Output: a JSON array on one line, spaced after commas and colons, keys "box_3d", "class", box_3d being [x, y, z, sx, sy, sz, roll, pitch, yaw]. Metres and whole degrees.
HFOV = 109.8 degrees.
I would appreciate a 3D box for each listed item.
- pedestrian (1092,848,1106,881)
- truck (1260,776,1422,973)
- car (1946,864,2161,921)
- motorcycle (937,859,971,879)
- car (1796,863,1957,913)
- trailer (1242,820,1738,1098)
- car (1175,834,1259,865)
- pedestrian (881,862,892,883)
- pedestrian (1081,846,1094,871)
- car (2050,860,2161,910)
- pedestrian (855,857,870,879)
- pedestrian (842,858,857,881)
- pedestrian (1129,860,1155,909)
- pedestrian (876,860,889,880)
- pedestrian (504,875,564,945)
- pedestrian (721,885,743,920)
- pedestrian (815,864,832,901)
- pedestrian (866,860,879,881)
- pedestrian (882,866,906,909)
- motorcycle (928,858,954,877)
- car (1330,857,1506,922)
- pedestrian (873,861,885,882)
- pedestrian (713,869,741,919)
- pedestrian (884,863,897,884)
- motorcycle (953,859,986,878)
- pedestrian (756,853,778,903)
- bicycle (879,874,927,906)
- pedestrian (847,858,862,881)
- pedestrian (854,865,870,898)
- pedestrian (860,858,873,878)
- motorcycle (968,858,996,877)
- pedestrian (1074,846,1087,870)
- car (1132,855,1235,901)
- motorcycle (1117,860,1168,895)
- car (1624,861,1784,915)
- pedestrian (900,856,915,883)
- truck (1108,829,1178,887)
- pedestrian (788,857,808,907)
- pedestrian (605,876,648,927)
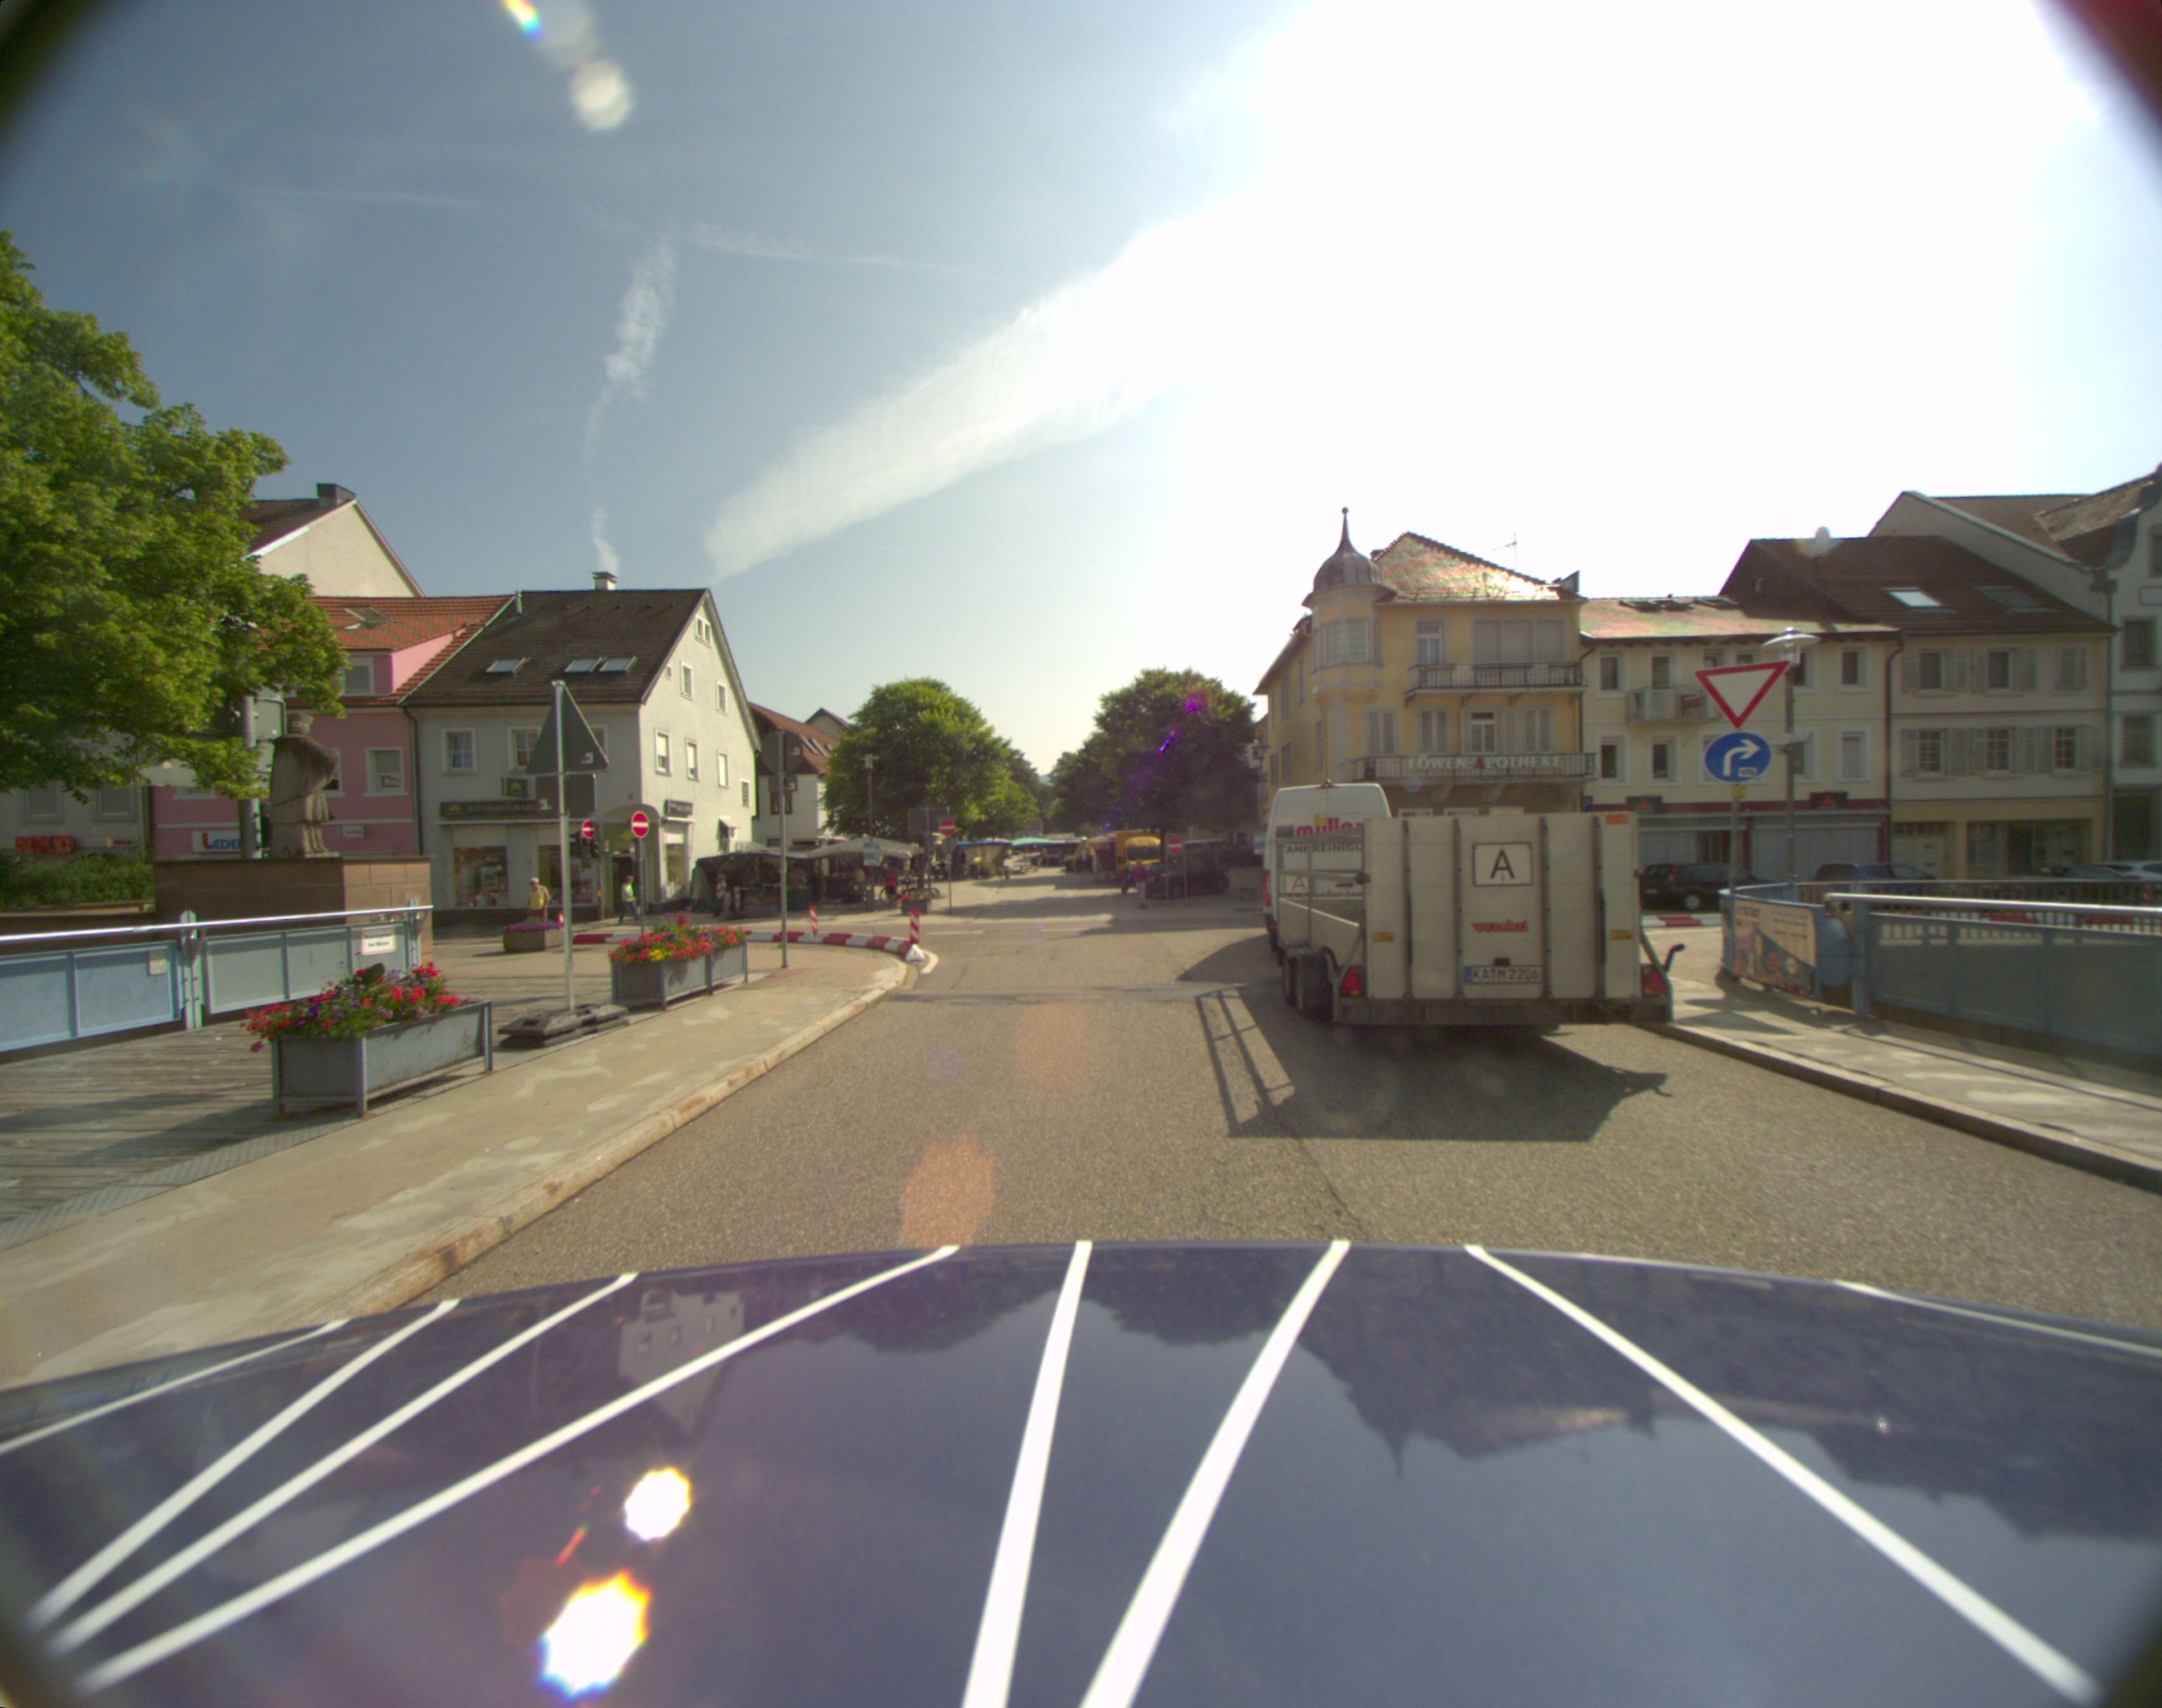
[{"box_3d": [1.020, 0.571, 42.498, 0.681, 1.777, 0.726, -3, 2, 0], "class": "pedestrian"}, {"box_3d": [4.536, 0.371, 14.073, 2.108, 2.682, 7.143, -1, -1, 15], "class": "truck"}, {"box_3d": [26.859, 1.020, 20.919, 4.197, 1.348, 1.756, -2, 0, -2], "class": "car"}, {"box_3d": [-8.065, 0.965, 48.145, 2.001, 1.189, 0.644, 1, 2, 14], "class": "motorcycle"}, {"box_3d": [25.052, 1.030, 24.008, 3.274, 1.439, 1.752, -1, 0, -1], "class": "car"}, {"box_3d": [3.299, 0.717, 7.913, 2.616, 1.817, 5.641, -1, 0, 6], "class": "trailer"}, {"box_3d": [8.849, -0.292, 49.791, 5.071, 1.880, 1.999, -1, 0, -4], "class": "car"}, {"box_3d": [-11.306, 1.082, 44.207, 0.572, 1.194, 0.650, 1, 2, -10], "class": "pedestrian"}, {"box_3d": [0.427, 0.300, 53.237, 0.682, 1.672, 0.582, -4, 3, -16], "class": "pedestrian"}, {"box_3d": [33.521, 0.954, 23.960, 3.792, 1.439, 1.752, -1, 0, -1], "class": "car"}, {"box_3d": [-13.337, 0.868, 46.406, 0.626, 1.323, 0.699, 1, 2, 4], "class": "pedestrian"}, {"box_3d": [-13.565, 0.907, 44.500, 0.626, 1.323, 0.699, 1, 2, 4], "class": "pedestrian"}, {"box_3d": [2.170, 1.081, 27.141, 0.678, 1.705, 0.618, -1, 2, 31], "class": "pedestrian"}, {"box_3d": [-12.366, 0.995, 47.315, 0.572, 1.194, 0.650, 1, 2, 1], "class": "pedestrian"}, {"box_3d": [-15.581, 1.561, 21.681, 0.908, 1.806, 1.019, -3, 6, -13], "class": "pedestrian"}, {"box_3d": [-12.239, 1.699, 26.639, 0.623, 1.153, 0.515, -2, 1, -31], "class": "pedestrian"}, {"box_3d": [-11.437, 1.265, 33.768, 0.522, 1.617, 0.707, -1, 1, -4], "class": "pedestrian"}, {"box_3d": [-12.298, 0.967, 44.834, 0.572, 1.194, 0.650, 1, 2, 1], "class": "pedestrian"}, {"box_3d": [-7.291, 1.311, 29.682, 0.883, 1.649, 0.571, 1, 2, -10], "class": "pedestrian"}, {"box_3d": [-9.041, 0.855, 49.213, 1.531, 1.189, 0.643, 1, 1, 0], "class": "motorcycle"}, {"box_3d": [9.032, 0.924, 20.589, 3.967, 1.552, 1.684, -2, 1, 1], "class": "car"}, {"box_3d": [-12.129, 1.044, 45.660, 0.572, 1.194, 0.650, 1, 2, 1], "class": "pedestrian"}, {"box_3d": [-12.648, 1.421, 27.137, 0.789, 1.714, 0.705, -2, 1, -33], "class": "pedestrian"}, {"box_3d": [-10.802, 1.109, 43.197, 0.700, 1.194, 0.571, 0, 2, -13], "class": "pedestrian"}, {"box_3d": [-7.146, 0.914, 48.667, 2.001, 1.189, 0.644, 1, 1, 14], "class": "motorcycle"}, {"box_3d": [-12.758, 0.962, 30.856, 0.708, 1.959, 0.507, -2, 1, -34], "class": "pedestrian"}, {"box_3d": [-7.257, 1.453, 30.986, 1.863, 1.228, 0.616, -2, 1, -13], "class": "bicycle"}, {"box_3d": [-13.551, 0.915, 45.427, 0.626, 1.323, 0.699, 1, 2, 4], "class": "pedestrian"}, {"box_3d": [-10.215, 1.287, 35.482, 0.622, 1.509, 0.632, -1, 1, -12], "class": "pedestrian"}, {"box_3d": [-13.373, 0.865, 47.347, 0.572, 1.194, 0.650, 1, 2, 1], "class": "pedestrian"}, {"box_3d": [-6.449, 0.885, 49.571, 1.999, 1.189, 0.645, 2, 1, 42], "class": "motorcycle"}, {"box_3d": [-0.062, 0.289, 53.768, 0.682, 1.672, 0.582, -4, 1, -15], "class": "pedestrian"}, {"box_3d": [4.201, 0.905, 30.897, 3.965, 1.534, 1.918, -4, 3, -38], "class": "car"}, {"box_3d": [2.719, 1.029, 33.522, 2.086, 1.353, 0.888, -4, 1, -1], "class": "motorcycle"}, {"box_3d": [19.561, 1.034, 23.972, 3.565, 1.559, 1.852, -1, 0, -1], "class": "car"}, {"box_3d": [-10.060, 0.917, 44.169, 0.698, 1.545, 0.572, 1, 2, 6], "class": "pedestrian"}, {"box_3d": [3.158, 0.059, 41.392, 3.008, 2.743, 8.858, -2, 2, 0], "class": "truck"}, {"box_3d": [-11.414, 1.113, 30.685, 0.708, 1.973, 0.651, -2, 1, -21], "class": "pedestrian"}, {"box_3d": [-15.280, 1.577, 25.564, 0.858, 1.623, 0.788, -2, 4, 2], "class": "pedestrian"}]
